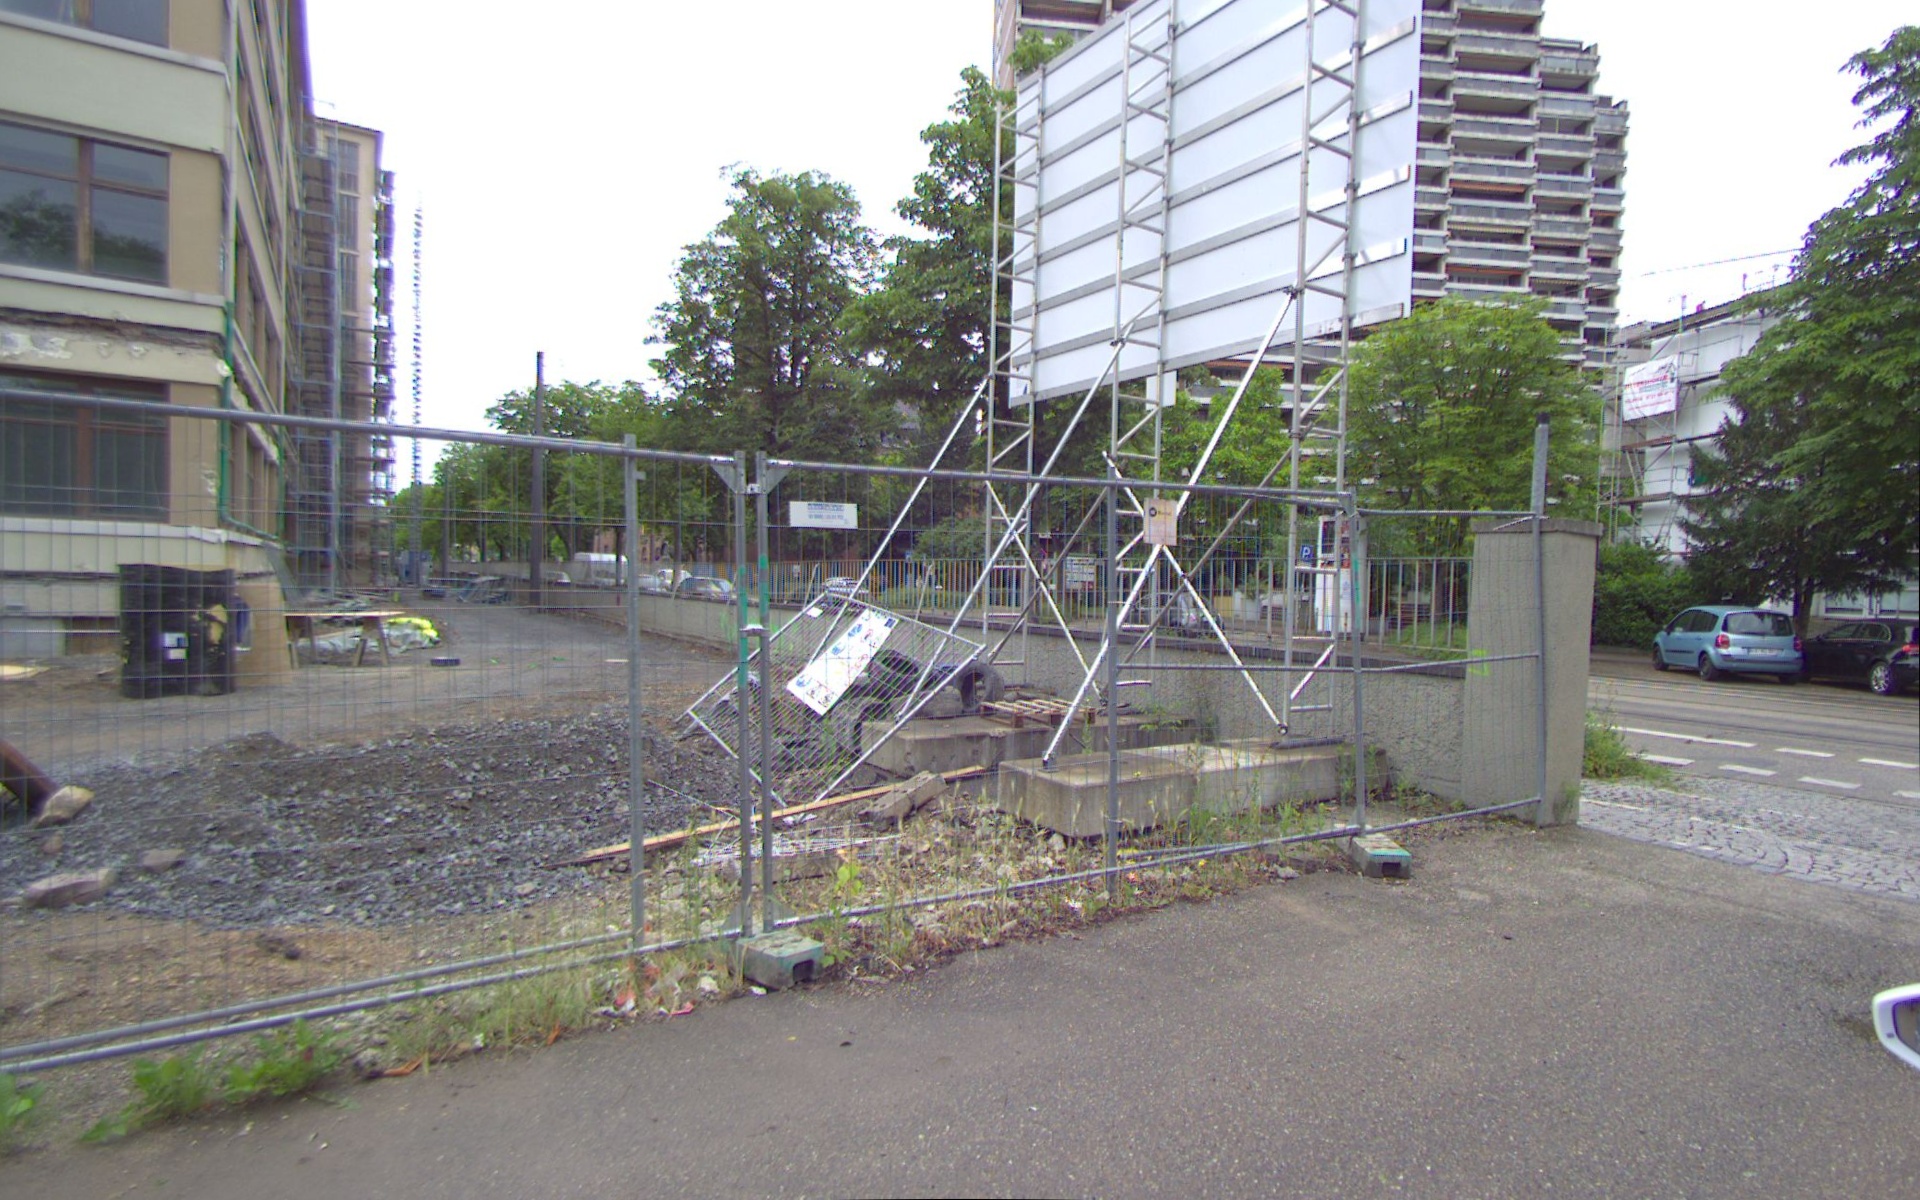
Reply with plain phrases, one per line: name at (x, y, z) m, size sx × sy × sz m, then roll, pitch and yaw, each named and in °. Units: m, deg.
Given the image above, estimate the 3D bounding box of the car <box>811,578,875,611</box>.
car at (-5.863, -0.302, 50.035) m, size 1.711 × 1.539 × 3.966 m, roll 1°, pitch 1°, yaw -31°

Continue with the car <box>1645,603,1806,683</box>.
car at (16.816, 0.879, 22.261) m, size 1.586 × 1.557 × 3.338 m, roll 2°, pitch 1°, yaw 14°

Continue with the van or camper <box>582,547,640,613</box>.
van or camper at (-15.582, -0.885, 44.716) m, size 1.973 × 2.789 × 3.974 m, roll 1°, pitch 1°, yaw -26°

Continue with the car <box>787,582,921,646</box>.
car at (-2.754, 0.321, 25.349) m, size 1.813 × 1.437 × 3.965 m, roll 1°, pitch 1°, yaw -32°

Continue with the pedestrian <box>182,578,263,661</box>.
pedestrian at (-13.514, 0.340, 18.407) m, size 0.916 × 1.457 × 0.979 m, roll 2°, pitch 1°, yaw 39°

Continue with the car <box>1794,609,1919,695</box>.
car at (18.309, 0.981, 19.744) m, size 1.586 × 1.531 × 3.339 m, roll 2°, pitch 0°, yaw 14°

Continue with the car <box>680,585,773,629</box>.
car at (-8.109, 0.214, 34.608) m, size 1.978 × 1.328 × 3.965 m, roll 1°, pitch 1°, yaw -31°

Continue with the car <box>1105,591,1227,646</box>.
car at (5.878, 0.502, 28.998) m, size 1.504 × 1.439 × 3.400 m, roll 1°, pitch 1°, yaw -32°
